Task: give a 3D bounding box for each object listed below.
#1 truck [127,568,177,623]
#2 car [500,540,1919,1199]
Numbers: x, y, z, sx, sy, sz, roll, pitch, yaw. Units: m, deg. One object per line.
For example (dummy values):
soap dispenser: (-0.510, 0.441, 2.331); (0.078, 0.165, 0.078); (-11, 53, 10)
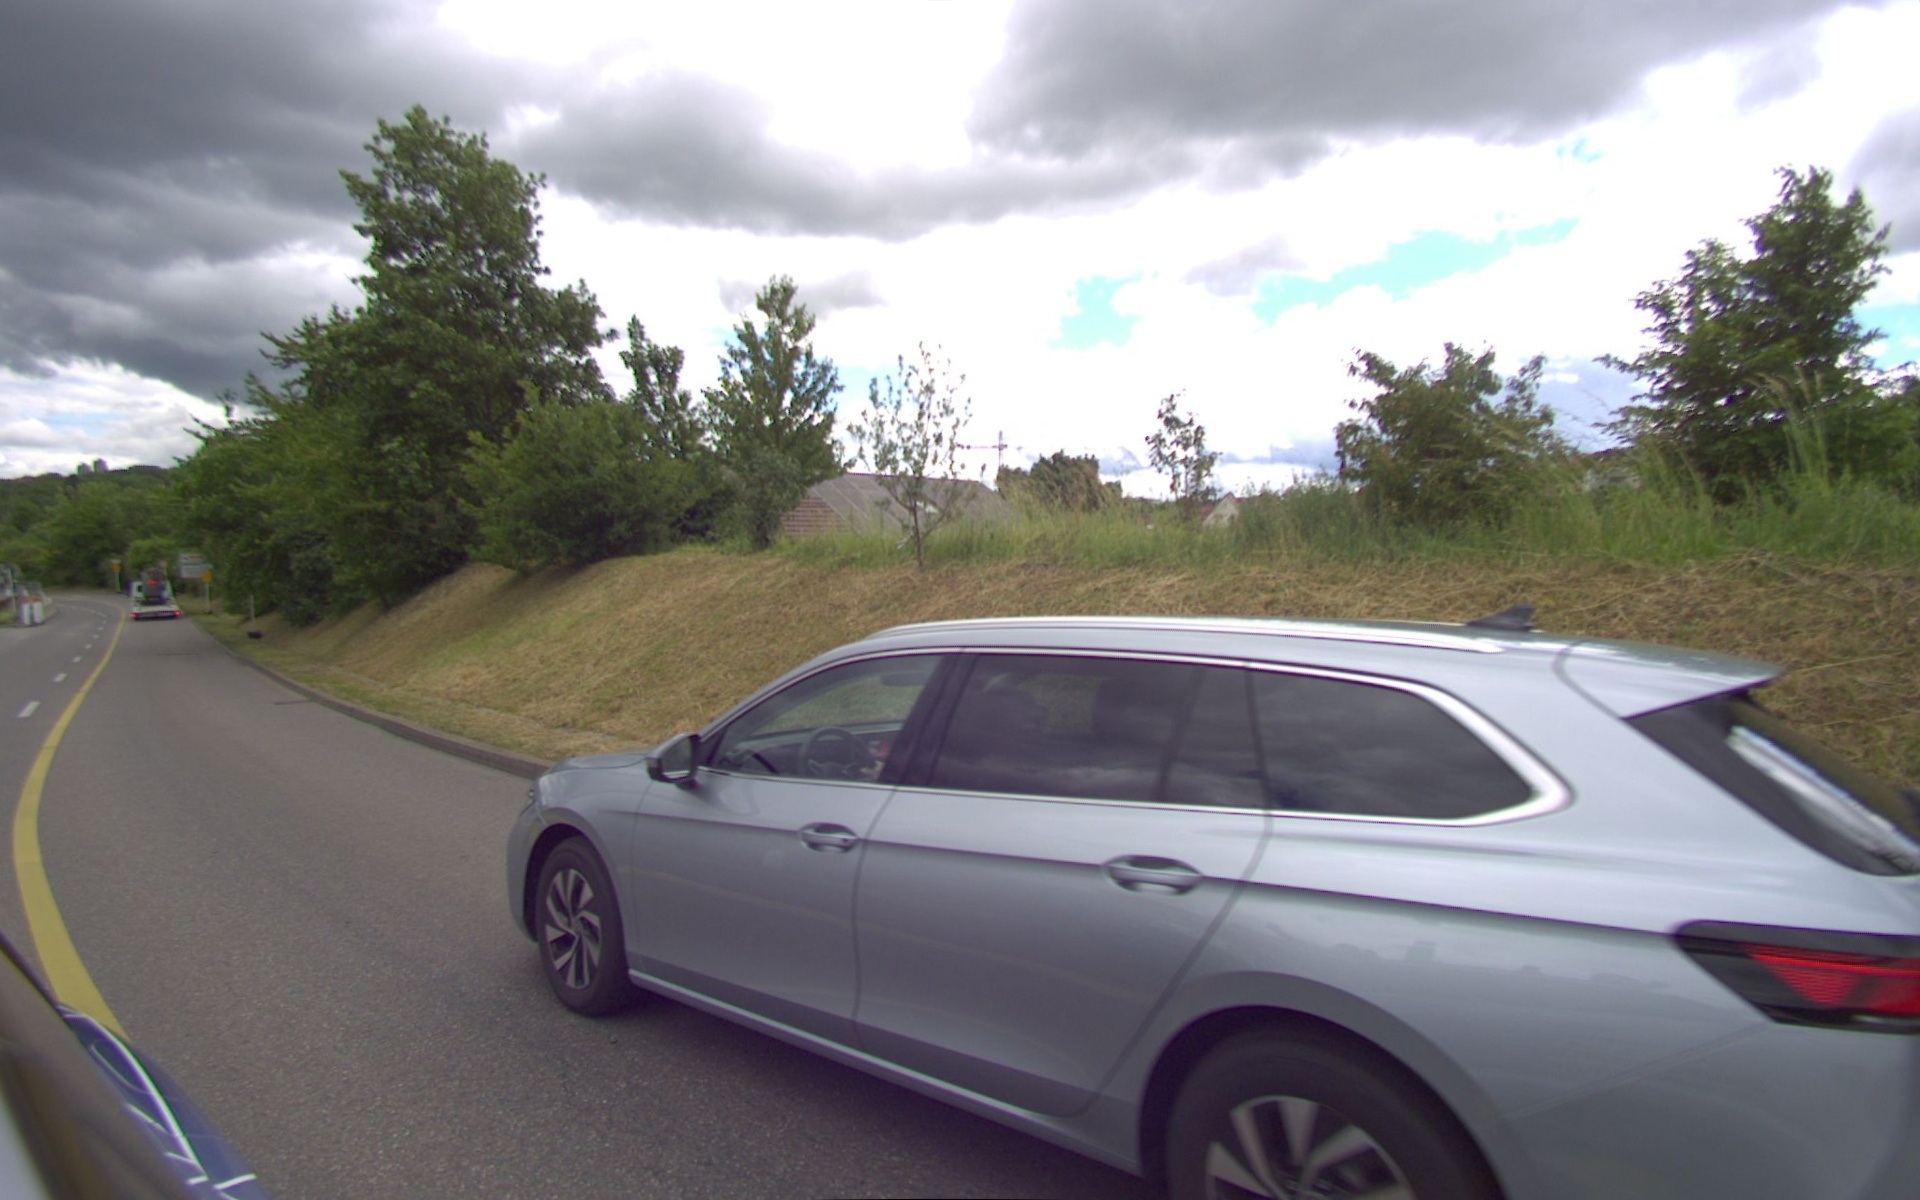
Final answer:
truck: (-47.549, -0.194, 59.535); (2.187, 3.037, 7.753); (1, -1, -39)
car: (0.614, 0.733, 3.062); (4.597, 1.489, 1.863); (-3, -3, 40)
